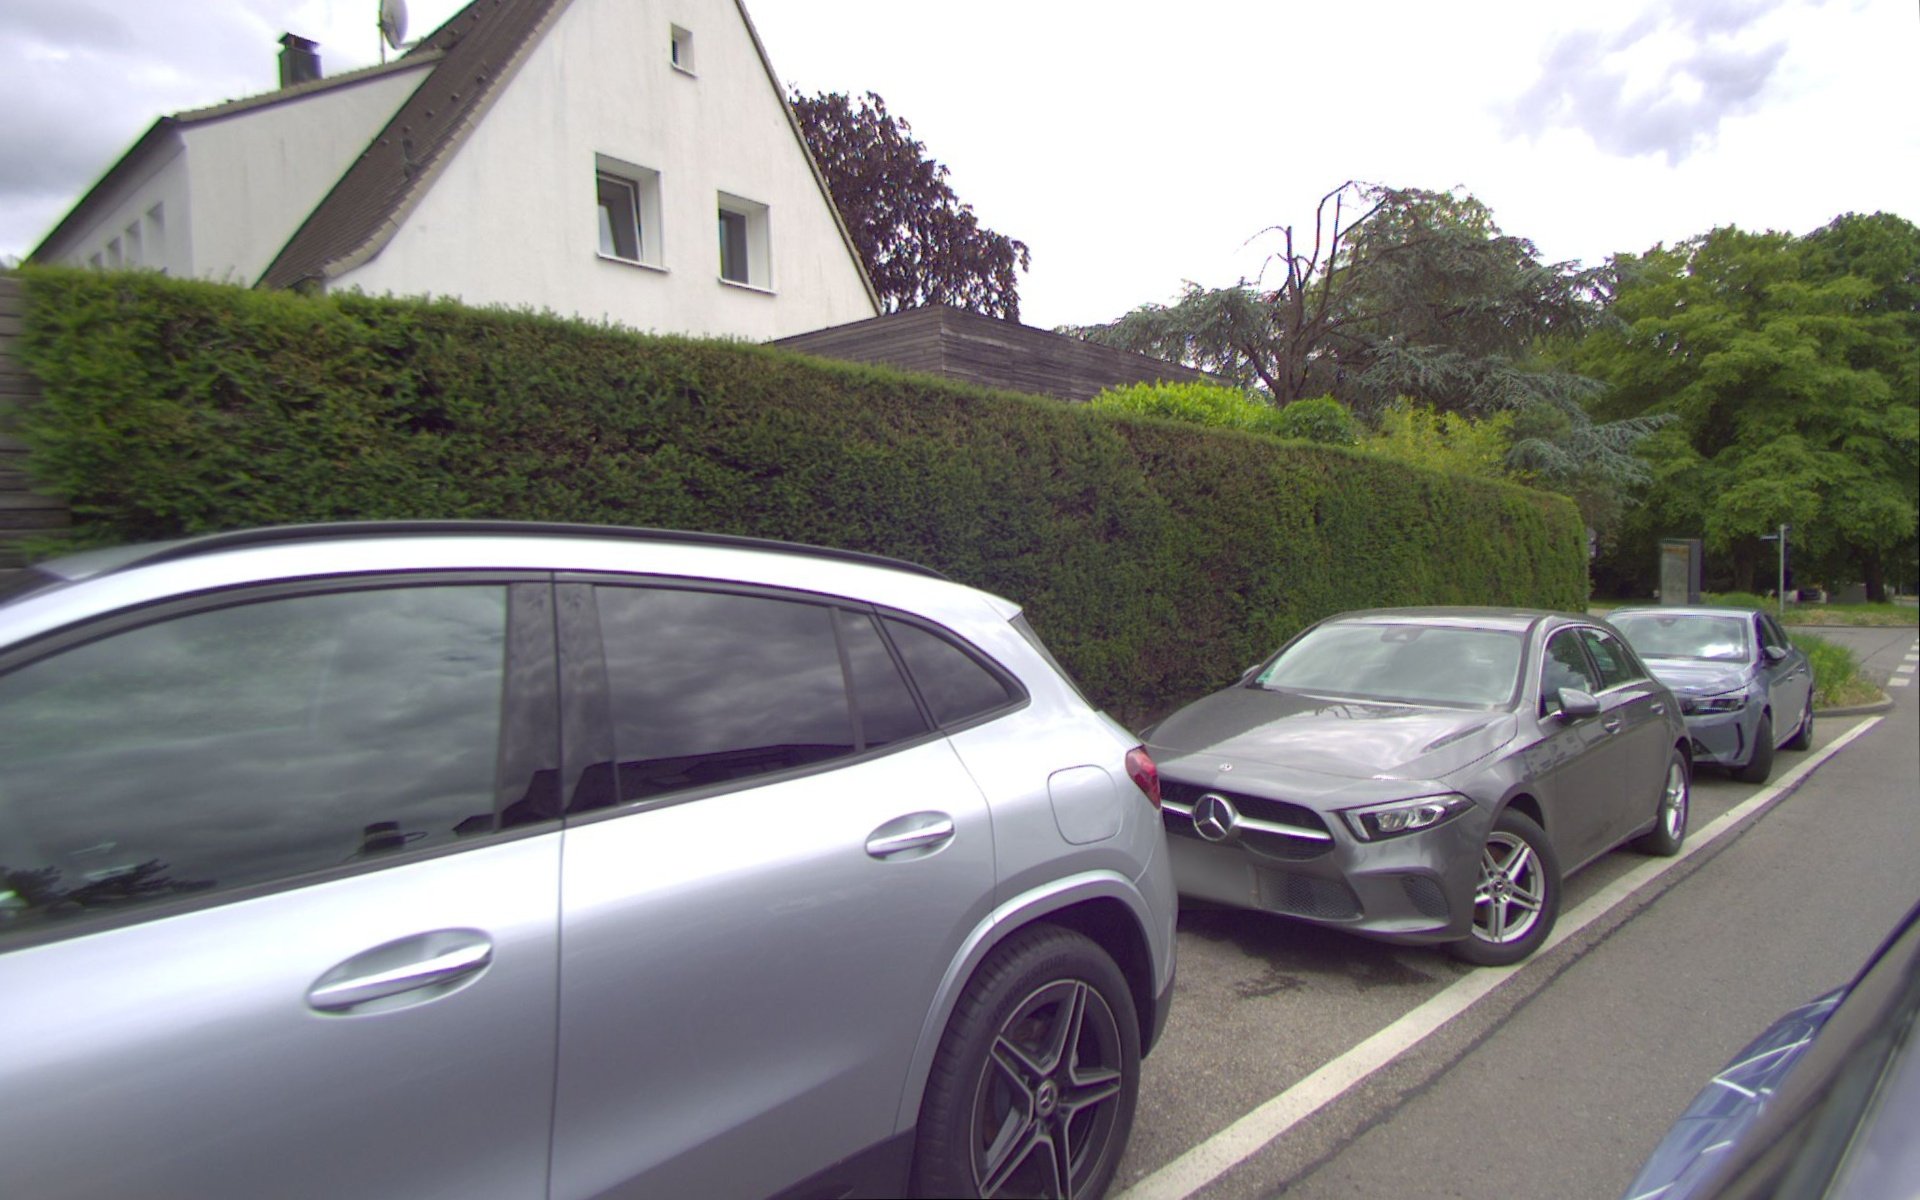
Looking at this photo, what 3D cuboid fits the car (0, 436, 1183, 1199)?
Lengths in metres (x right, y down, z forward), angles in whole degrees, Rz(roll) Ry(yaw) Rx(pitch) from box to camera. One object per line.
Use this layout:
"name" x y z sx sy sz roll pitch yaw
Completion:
"car" -1.551 0.618 1.816 4.102 1.602 1.857 -1 1 -43

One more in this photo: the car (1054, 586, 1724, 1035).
"car" 2.553 0.669 5.451 4.102 1.482 1.857 -1 1 -43

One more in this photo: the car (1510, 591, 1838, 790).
"car" 6.982 0.672 9.737 3.933 1.482 1.857 -1 1 -43
